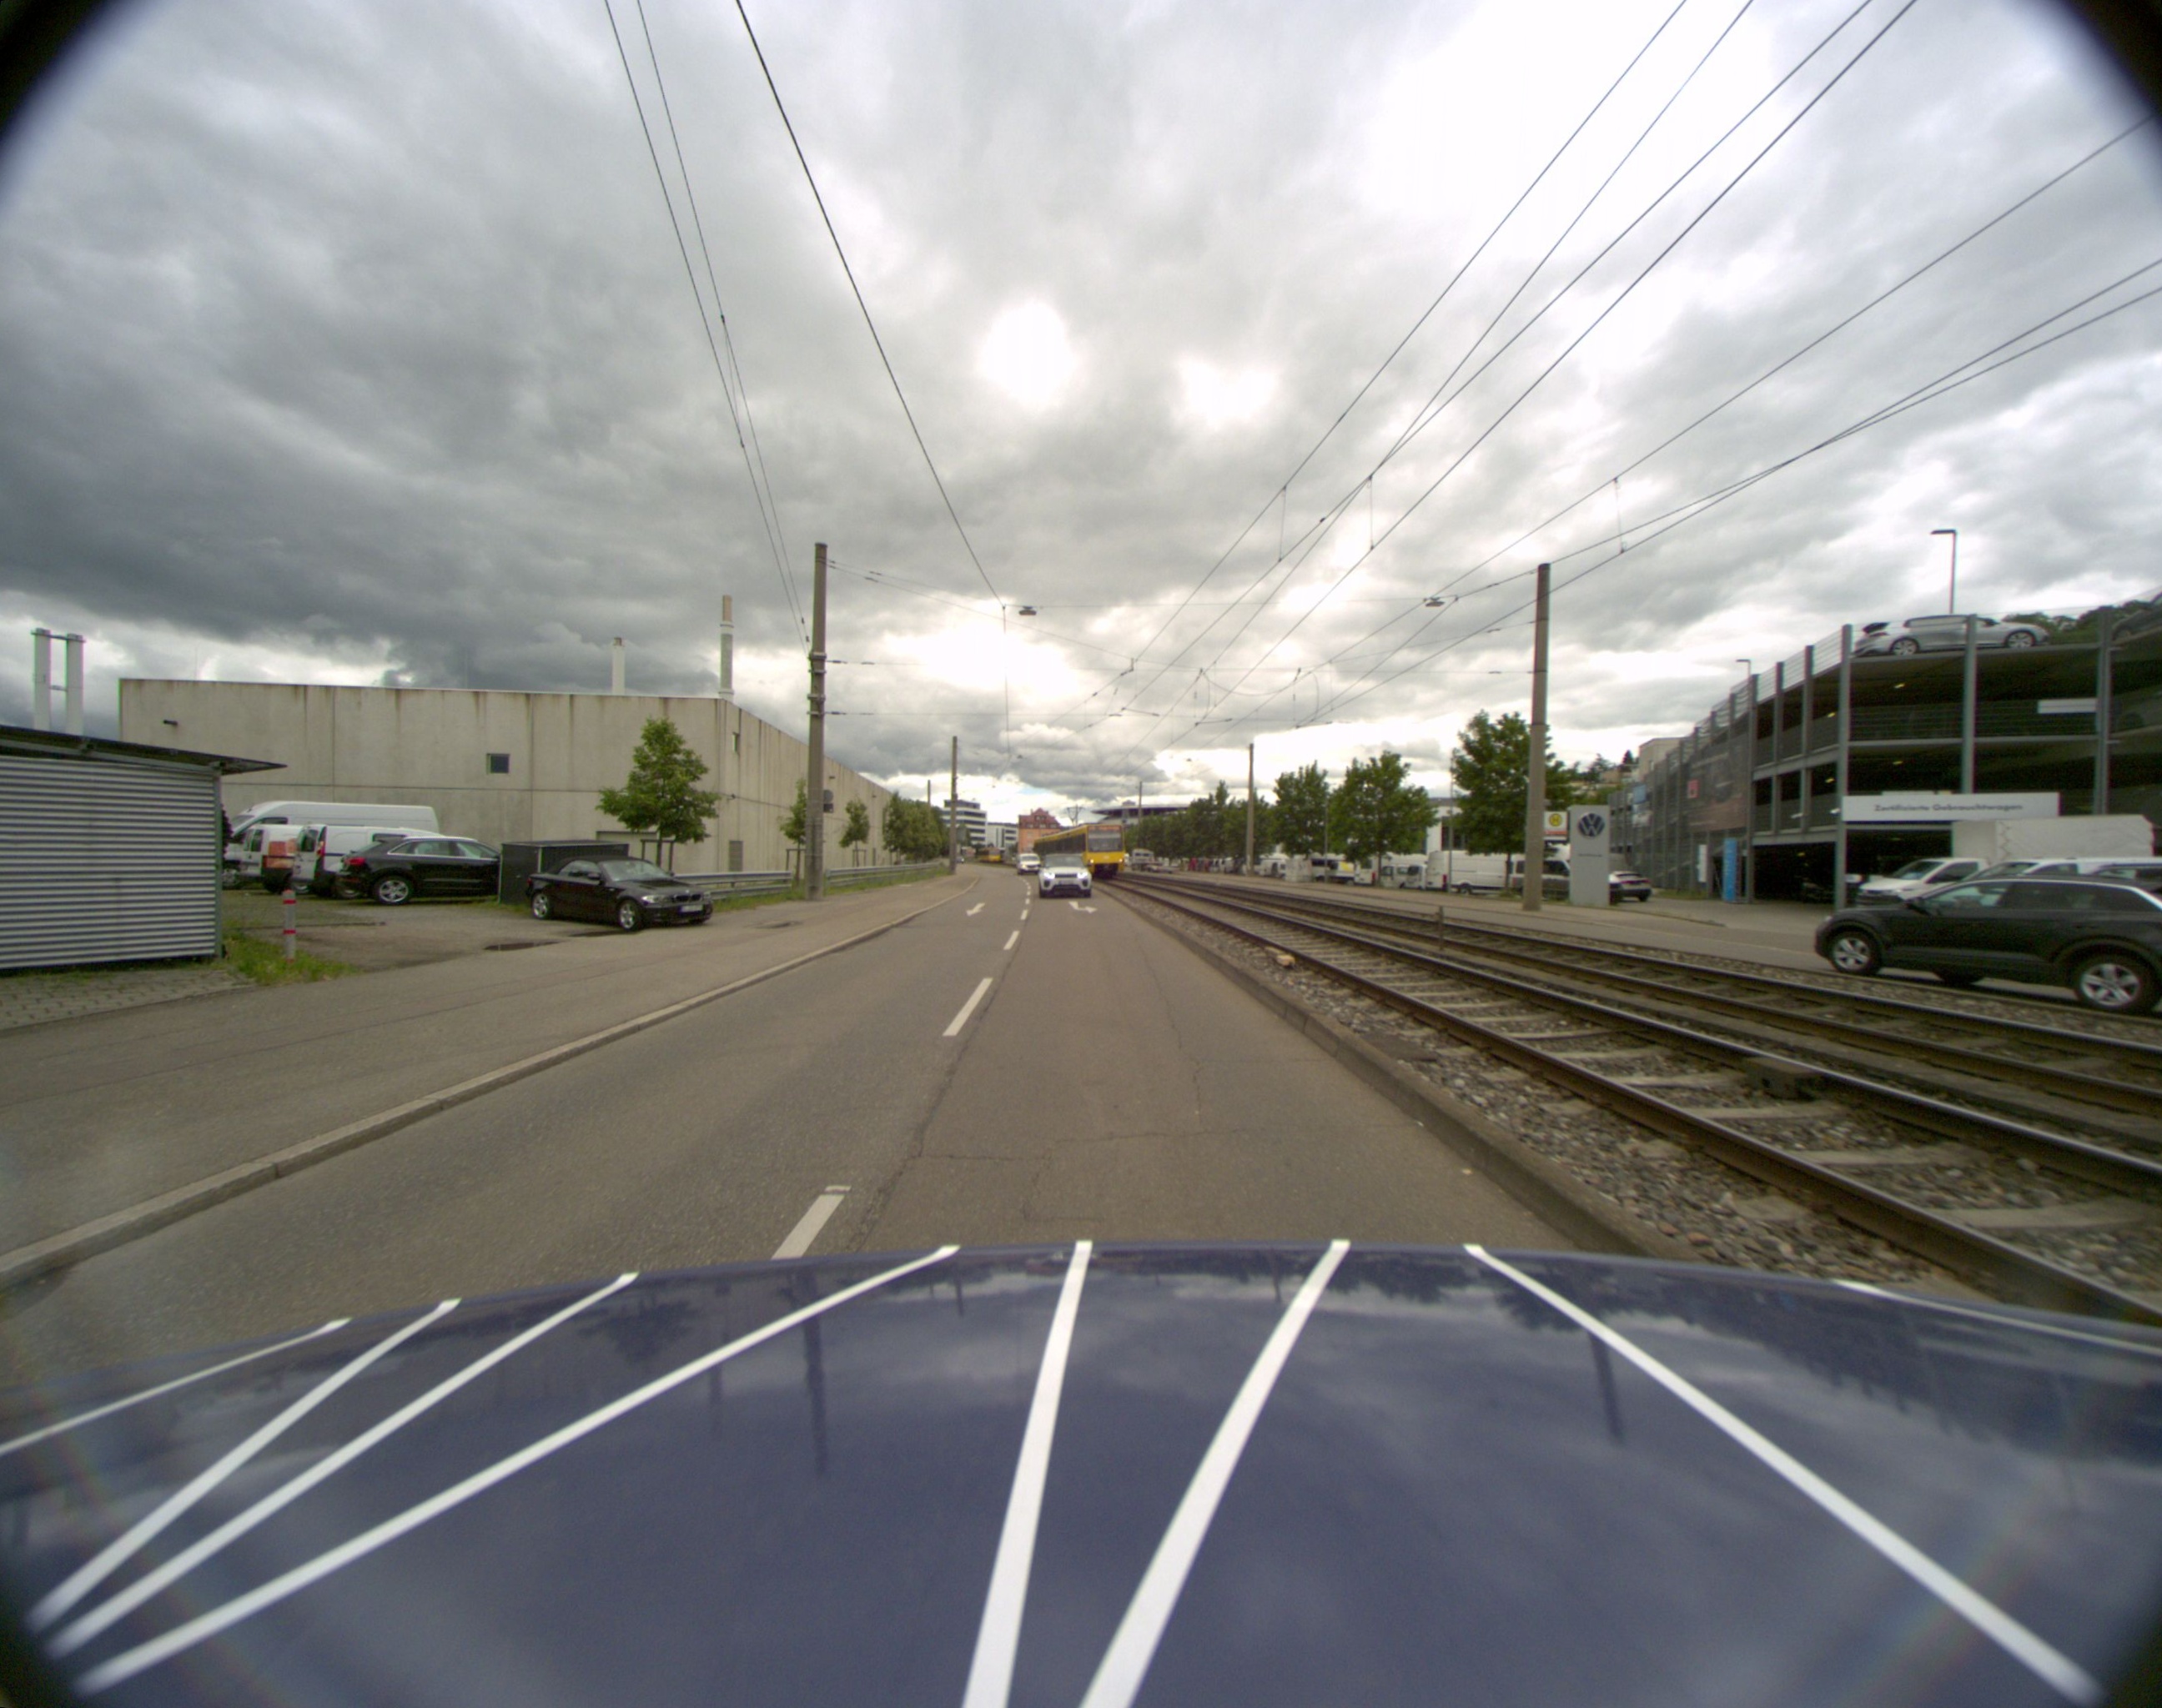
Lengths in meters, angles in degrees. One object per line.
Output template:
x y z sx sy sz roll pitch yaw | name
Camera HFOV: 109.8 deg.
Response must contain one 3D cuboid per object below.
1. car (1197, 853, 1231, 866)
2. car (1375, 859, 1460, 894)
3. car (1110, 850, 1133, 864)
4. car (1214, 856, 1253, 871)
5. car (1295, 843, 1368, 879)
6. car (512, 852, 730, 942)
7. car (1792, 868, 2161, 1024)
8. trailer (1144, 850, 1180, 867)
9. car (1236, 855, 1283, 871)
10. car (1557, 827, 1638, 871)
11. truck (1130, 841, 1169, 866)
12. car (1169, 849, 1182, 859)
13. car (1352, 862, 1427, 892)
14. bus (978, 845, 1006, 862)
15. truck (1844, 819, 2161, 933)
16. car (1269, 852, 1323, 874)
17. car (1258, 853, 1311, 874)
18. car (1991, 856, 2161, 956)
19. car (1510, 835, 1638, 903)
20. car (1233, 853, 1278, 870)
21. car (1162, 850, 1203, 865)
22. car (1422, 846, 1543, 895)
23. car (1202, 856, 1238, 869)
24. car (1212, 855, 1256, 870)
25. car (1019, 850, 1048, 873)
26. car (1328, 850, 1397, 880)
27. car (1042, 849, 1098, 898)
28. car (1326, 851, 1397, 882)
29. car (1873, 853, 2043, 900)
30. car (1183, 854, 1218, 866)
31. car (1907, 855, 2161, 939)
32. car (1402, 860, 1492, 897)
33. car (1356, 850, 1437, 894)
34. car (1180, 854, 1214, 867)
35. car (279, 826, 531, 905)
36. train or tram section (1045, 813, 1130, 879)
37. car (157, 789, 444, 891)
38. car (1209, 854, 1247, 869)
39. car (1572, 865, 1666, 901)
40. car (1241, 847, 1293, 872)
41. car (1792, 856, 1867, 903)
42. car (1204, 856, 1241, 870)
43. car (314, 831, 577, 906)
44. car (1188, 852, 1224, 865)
16.890 0.679 96.558 3.998 1.655 2.047 1 0 -2 | car
20.847 1.381 47.128 4.379 2.093 2.002 1 0 -7 | car
7.535 0.509 141.838 2.002 2.546 5.852 0 0 -22 | car
17.269 1.080 86.287 3.998 1.608 1.999 1 0 -2 | car
19.772 0.557 60.041 4.982 2.683 2.113 1 0 -8 | car
-9.639 0.815 15.905 4.222 1.435 1.766 4 1 24 | car
11.872 1.033 9.523 1.692 1.523 4.254 4 0 -3 | car
8.776 0.478 82.963 2.390 1.688 6.943 3 0 -6 | trailer
18.620 0.892 79.250 4.378 1.608 2.003 1 0 -3 | car
32.277 -0.288 47.412 5.964 2.587 1.999 1 0 -33 | car
8.047 -0.113 90.924 2.765 2.725 9.213 3 0 -6 | truck
19.206 -0.002 154.305 1.996 2.002 4.005 1 0 16 | car
21.140 1.568 52.162 4.379 1.899 2.002 1 0 -7 | car
-21.613 -0.192 183.535 3.566 3.931 10.469 -1 2 -25 | bus
27.042 0.547 22.456 5.923 3.067 2.124 1 0 26 | truck
19.600 0.837 69.365 4.378 1.936 2.003 1 0 -3 | car
19.153 0.893 71.723 4.378 1.834 2.003 1 0 -3 | car
22.748 1.077 15.588 1.999 2.002 4.916 1 0 -5 | car
23.560 0.667 36.692 2.113 3.002 5.935 1 0 -2 | car
18.724 0.808 81.631 4.378 1.676 2.003 1 0 -3 | car
14.845 0.526 110.696 5.703 1.996 2.146 1 0 14 | car
22.114 0.910 41.979 5.488 2.587 2.246 1 0 -4 | car
17.183 1.060 94.063 3.998 1.608 1.999 1 0 -2 | car
16.822 0.920 83.834 4.379 1.608 2.003 1 0 -5 | car
-4.166 0.615 65.769 2.000 1.881 4.622 1 0 -9 | car
21.178 0.838 57.250 4.379 2.160 2.002 1 0 -7 | car
-0.498 0.701 29.175 1.999 1.718 3.999 -1 0 -3 | car
20.114 0.885 54.589 4.379 2.160 2.002 1 0 -7 | car
37.897 0.908 33.029 2.000 1.892 4.461 1 0 -6 | car
16.044 0.797 102.440 4.357 1.608 2.119 1 0 -2 | car
25.472 1.059 19.917 4.719 2.002 2.003 1 0 23 | car
21.454 1.407 44.614 4.379 2.093 2.002 1 0 -7 | car
20.532 1.157 49.538 4.379 2.802 2.002 1 0 -7 | car
15.968 0.880 105.050 4.348 1.608 2.153 1 0 -2 | car
-17.439 0.265 19.887 1.855 1.821 4.551 1 0 29 | car
0.037 -0.606 55.155 3.399 3.984 16.927 -1 1 -9 | train or tram section
-22.240 -0.351 21.972 2.090 2.574 5.435 1 0 31 | car
17.290 0.883 89.476 3.998 1.608 1.999 1 0 -2 | car
26.763 1.396 37.957 1.998 1.608 4.137 1 0 5 | car
18.092 0.548 73.942 4.509 2.298 2.124 1 0 -3 | car
32.593 1.047 33.067 4.009 1.892 1.994 1 0 -41 | car
17.115 1.061 91.949 3.998 1.608 1.999 1 0 -2 | car
-15.127 0.298 18.300 2.154 1.539 4.531 3 2 39 | car
16.313 0.576 99.297 4.189 1.608 2.062 1 0 -2 | car
